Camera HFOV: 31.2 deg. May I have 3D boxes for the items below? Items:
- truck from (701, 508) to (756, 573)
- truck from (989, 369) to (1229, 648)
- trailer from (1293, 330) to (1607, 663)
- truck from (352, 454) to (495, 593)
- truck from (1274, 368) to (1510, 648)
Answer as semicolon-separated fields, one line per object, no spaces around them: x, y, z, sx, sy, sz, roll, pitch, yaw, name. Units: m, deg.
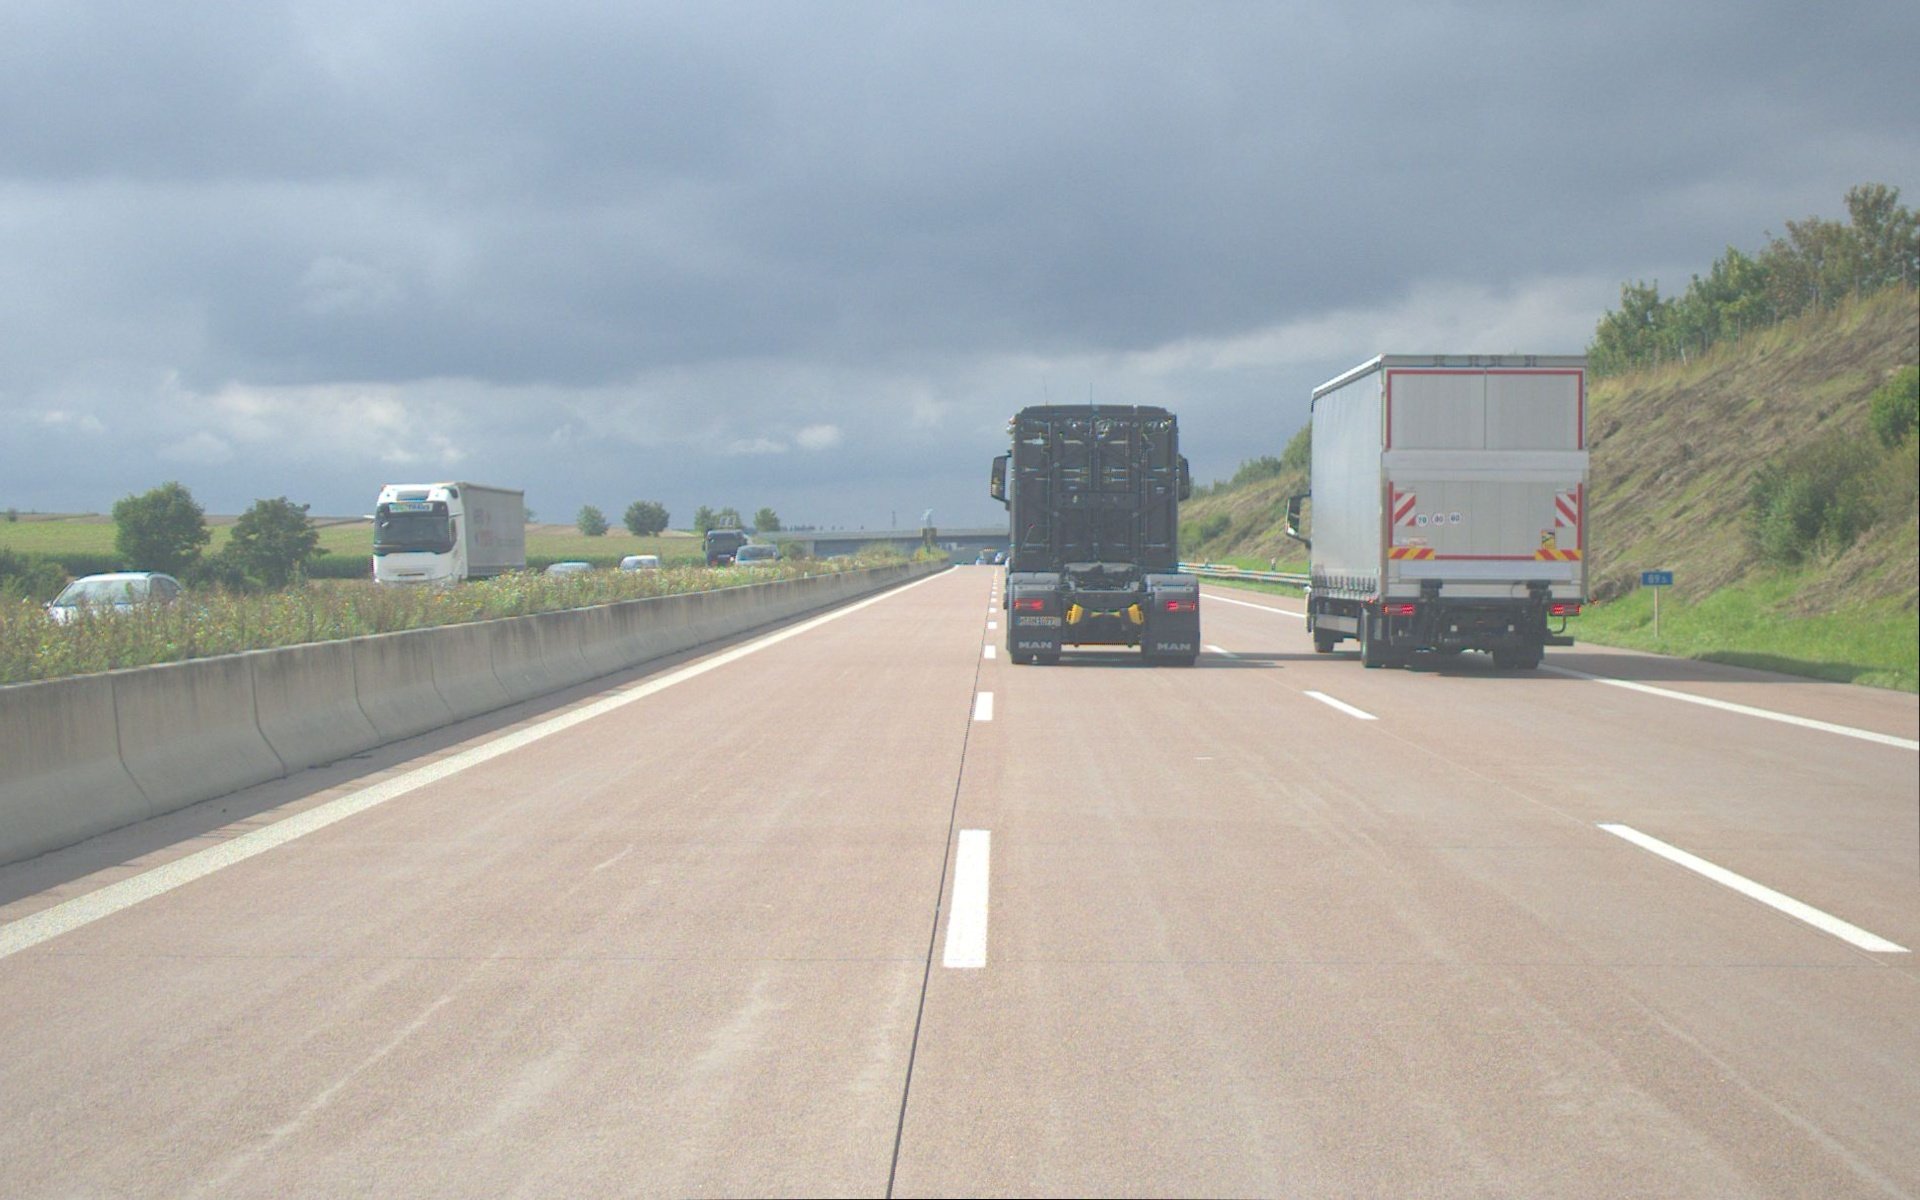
-15.319;-3.947;228.054;2.892;4.084;6.335;-2;1;2;truck
1.948;-1.222;48.229;2.847;3.537;8.320;1;1;-1;truck
6.352;-1.304;45.958;2.747;3.998;8.671;1;1;-1;trailer
-16.379;-2.345;105.383;3.206;4.084;6.126;1;1;1;truck
6.255;-1.312;50.387;2.748;3.878;4.546;1;1;-1;truck
